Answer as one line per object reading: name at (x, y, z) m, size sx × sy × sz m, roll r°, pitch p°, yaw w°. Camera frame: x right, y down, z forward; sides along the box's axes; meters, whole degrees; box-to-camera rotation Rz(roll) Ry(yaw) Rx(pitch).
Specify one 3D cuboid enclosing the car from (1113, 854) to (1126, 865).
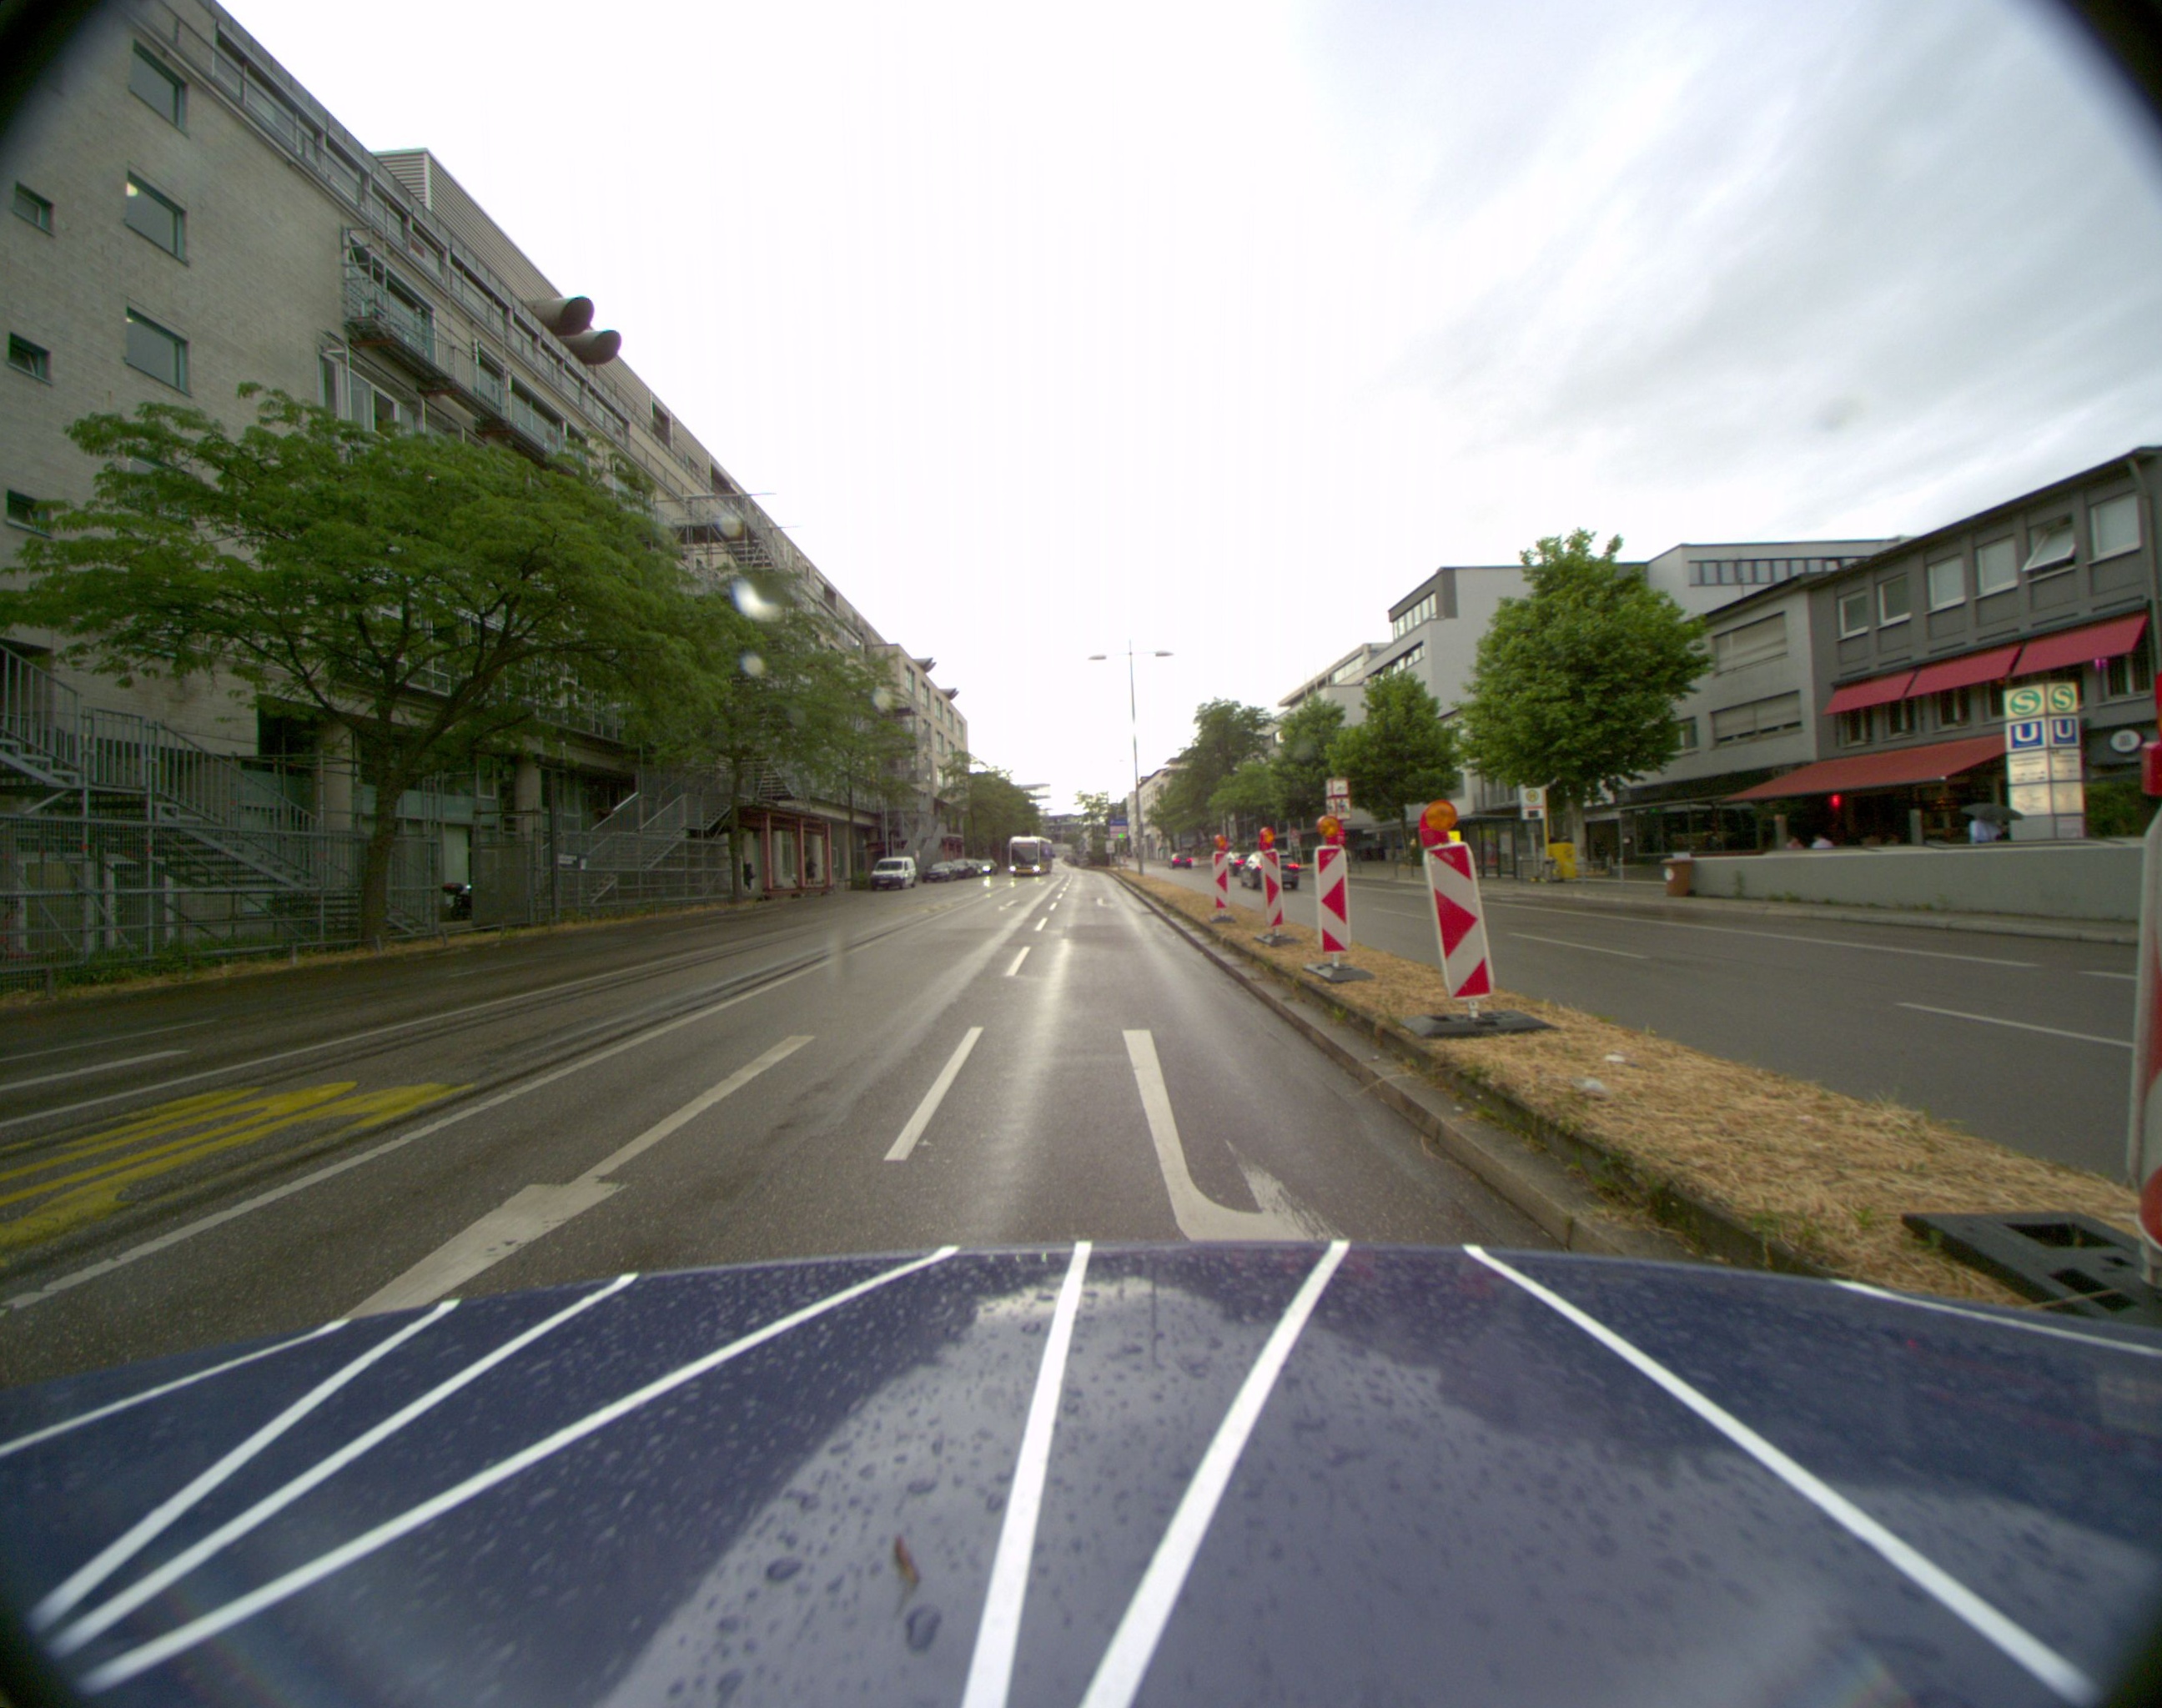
car at (6.983, 0.974, 139.490) m, size 1.999 × 2.002 × 3.999 m, roll -2°, pitch 1°, yaw -2°

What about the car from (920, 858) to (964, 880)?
car at (-9.898, 1.053, 54.419) m, size 2.147 × 1.329 × 4.816 m, roll -2°, pitch 1°, yaw 0°

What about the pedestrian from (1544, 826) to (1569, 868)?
pedestrian at (23.374, -0.361, 37.357) m, size 0.774 × 2.002 × 0.767 m, roll -2°, pitch 1°, yaw 8°

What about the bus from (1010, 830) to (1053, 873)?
bus at (-4.221, -0.248, 66.979) m, size 2.890 × 3.430 × 9.756 m, roll -2°, pitch 1°, yaw 1°

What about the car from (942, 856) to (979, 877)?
car at (-9.630, 0.976, 61.217) m, size 2.147 × 1.486 × 4.816 m, roll -2°, pitch 1°, yaw 0°

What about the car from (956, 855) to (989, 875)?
car at (-9.471, 0.936, 66.686) m, size 2.147 × 1.552 × 4.816 m, roll -2°, pitch 1°, yaw 0°

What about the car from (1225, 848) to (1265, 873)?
car at (10.128, 0.466, 47.064) m, size 1.691 × 1.422 × 4.216 m, roll -2°, pitch -2°, yaw 2°

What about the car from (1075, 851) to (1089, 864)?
car at (0.167, 0.581, 130.714) m, size 1.998 × 2.002 × 4.001 m, roll -2°, pitch 1°, yaw 6°

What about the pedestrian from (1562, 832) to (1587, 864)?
pedestrian at (24.367, -0.306, 37.517) m, size 0.774 × 1.556 × 0.767 m, roll -2°, pitch 1°, yaw 8°

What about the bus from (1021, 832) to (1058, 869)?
bus at (-4.085, -0.360, 76.718) m, size 2.890 × 3.420 × 9.709 m, roll -2°, pitch 1°, yaw 1°

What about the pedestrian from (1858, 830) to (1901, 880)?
pedestrian at (24.988, 0.031, 23.791) m, size 0.669 × 1.520 × 0.611 m, roll -2°, pitch 1°, yaw 3°

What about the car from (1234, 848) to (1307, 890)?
car at (7.395, 0.558, 30.097) m, size 1.692 × 1.501 × 4.290 m, roll -2°, pitch 0°, yaw -1°

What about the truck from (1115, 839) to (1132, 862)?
truck at (7.095, -0.567, 127.113) m, size 1.999 × 3.557 × 7.572 m, roll -2°, pitch 0°, yaw -2°

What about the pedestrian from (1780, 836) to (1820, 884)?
pedestrian at (23.340, 0.183, 24.675) m, size 0.669 × 1.520 × 0.611 m, roll -2°, pitch 1°, yaw 3°

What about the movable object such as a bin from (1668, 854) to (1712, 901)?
movable object such as a bin at (14.558, 0.549, 18.167) m, size 0.507 × 1.094 × 0.660 m, roll -2°, pitch 1°, yaw -2°

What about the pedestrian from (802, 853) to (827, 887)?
pedestrian at (-16.176, 0.964, 46.145) m, size 1.009 × 2.002 × 1.039 m, roll -2°, pitch 1°, yaw 1°

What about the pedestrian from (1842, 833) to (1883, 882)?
pedestrian at (25.193, 0.113, 24.494) m, size 0.669 × 1.520 × 0.611 m, roll -2°, pitch 1°, yaw 4°

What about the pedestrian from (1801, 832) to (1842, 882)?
pedestrian at (23.071, 0.083, 23.680) m, size 0.669 × 1.520 × 0.611 m, roll -2°, pitch 1°, yaw 3°

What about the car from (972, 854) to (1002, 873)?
car at (-8.900, 0.894, 72.423) m, size 2.147 × 1.637 × 4.816 m, roll -2°, pitch 1°, yaw 0°

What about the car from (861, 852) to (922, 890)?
car at (-10.533, 0.910, 42.653) m, size 2.213 × 1.895 × 4.329 m, roll -2°, pitch 1°, yaw 0°

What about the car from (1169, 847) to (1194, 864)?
car at (9.778, 0.111, 74.110) m, size 1.692 × 1.545 × 4.419 m, roll -2°, pitch 1°, yaw -2°

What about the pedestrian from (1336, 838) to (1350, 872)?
pedestrian at (14.316, 0.047, 41.551) m, size 0.575 × 1.815 × 0.580 m, roll -2°, pitch 1°, yaw 7°

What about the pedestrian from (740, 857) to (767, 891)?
pedestrian at (-18.098, 1.093, 42.003) m, size 1.010 × 1.789 × 0.846 m, roll -2°, pitch 1°, yaw -3°
